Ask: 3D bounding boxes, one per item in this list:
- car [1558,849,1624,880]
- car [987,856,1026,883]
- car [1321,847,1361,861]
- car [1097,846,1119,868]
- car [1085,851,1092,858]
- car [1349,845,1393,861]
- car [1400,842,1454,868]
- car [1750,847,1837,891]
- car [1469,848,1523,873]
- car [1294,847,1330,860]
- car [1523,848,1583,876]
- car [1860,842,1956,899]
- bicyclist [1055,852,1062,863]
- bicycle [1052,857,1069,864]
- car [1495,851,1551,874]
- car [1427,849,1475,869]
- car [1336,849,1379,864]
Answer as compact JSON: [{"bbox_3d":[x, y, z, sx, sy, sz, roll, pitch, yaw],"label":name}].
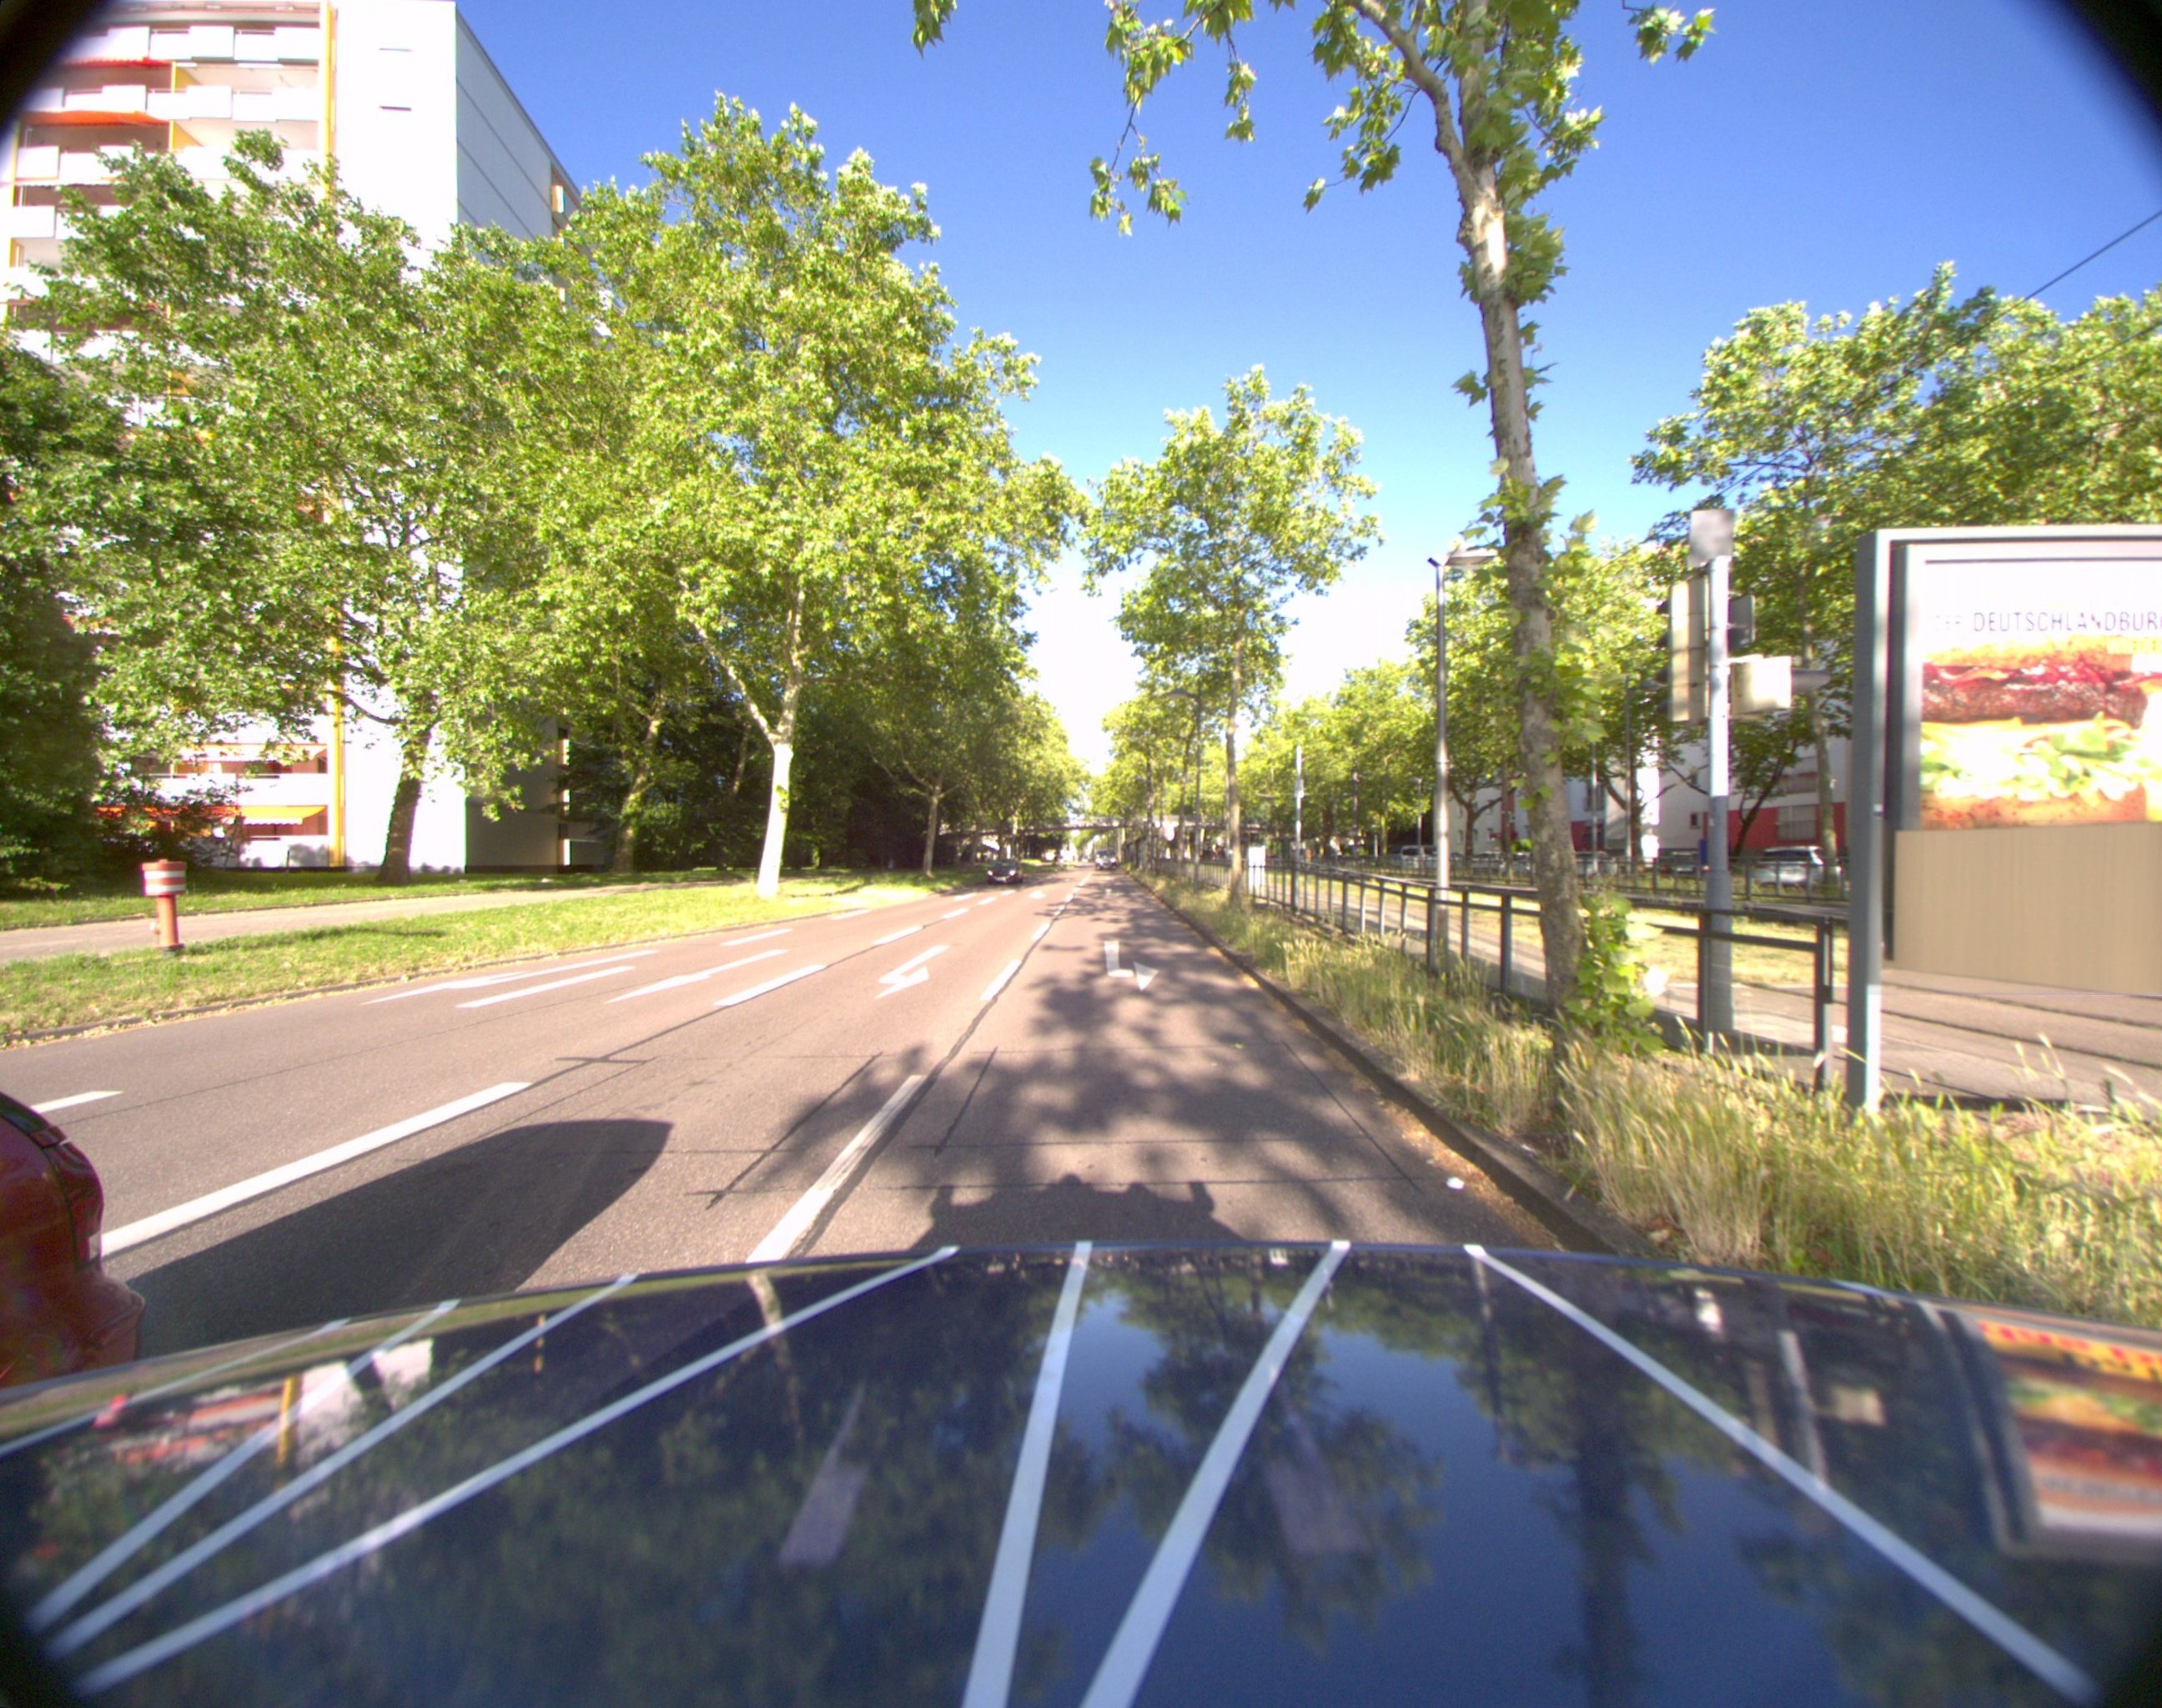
[{"bbox_3d":[25.323,0.496,37.675,3.689,1.384,1.645,-1,1,-38],"label":"car"},{"bbox_3d":[-4.241,0.857,43.835,1.750,1.460,3.892,-1,0,1],"label":"car"},{"bbox_3d":[27.234,0.017,79.559,4.376,1.367,1.919,-1,1,-39],"label":"car"},{"bbox_3d":[2.695,0.287,76.485,2.040,2.102,5.113,-2,0,1],"label":"car"},{"bbox_3d":[2.067,0.088,208.754,2.040,1.995,5.113,-2,0,1],"label":"car"},{"bbox_3d":[26.862,-0.077,70.316,4.376,1.367,1.919,-1,1,-39],"label":"car"},{"bbox_3d":[25.953,0.079,56.977,4.376,1.873,1.919,-1,1,-39],"label":"car"},{"bbox_3d":[25.049,0.490,26.671,3.689,1.425,1.683,-1,1,-38],"label":"car"},{"bbox_3d":[25.949,0.409,47.480,3.689,1.440,1.645,-1,1,-39],"label":"car"},{"bbox_3d":[27.192,-0.067,89.413,4.376,1.367,1.919,-1,1,-39],"label":"car"},{"bbox_3d":[25.803,0.424,41.503,3.689,1.440,1.645,-1,1,-39],"label":"car"},{"bbox_3d":[25.011,0.457,22.945,3.689,1.558,1.683,-1,1,-38],"label":"car"},{"bbox_3d":[-2.987,0.495,100.441,0.709,1.479,0.611,-1,1,7],"label":"bicyclist"},{"bbox_3d":[-2.753,0.862,100.430,2.141,0.959,0.601,-1,1,7],"label":"bicycle"},{"bbox_3d":[26.193,0.476,44.945,3.689,1.234,1.645,-1,1,-39],"label":"car"},{"bbox_3d":[26.238,0.342,53.883,3.689,1.388,1.645,-1,1,-39],"label":"car"},{"bbox_3d":[26.649,0.229,73.274,4.376,1.367,1.919,-1,1,-39],"label":"car"}]
